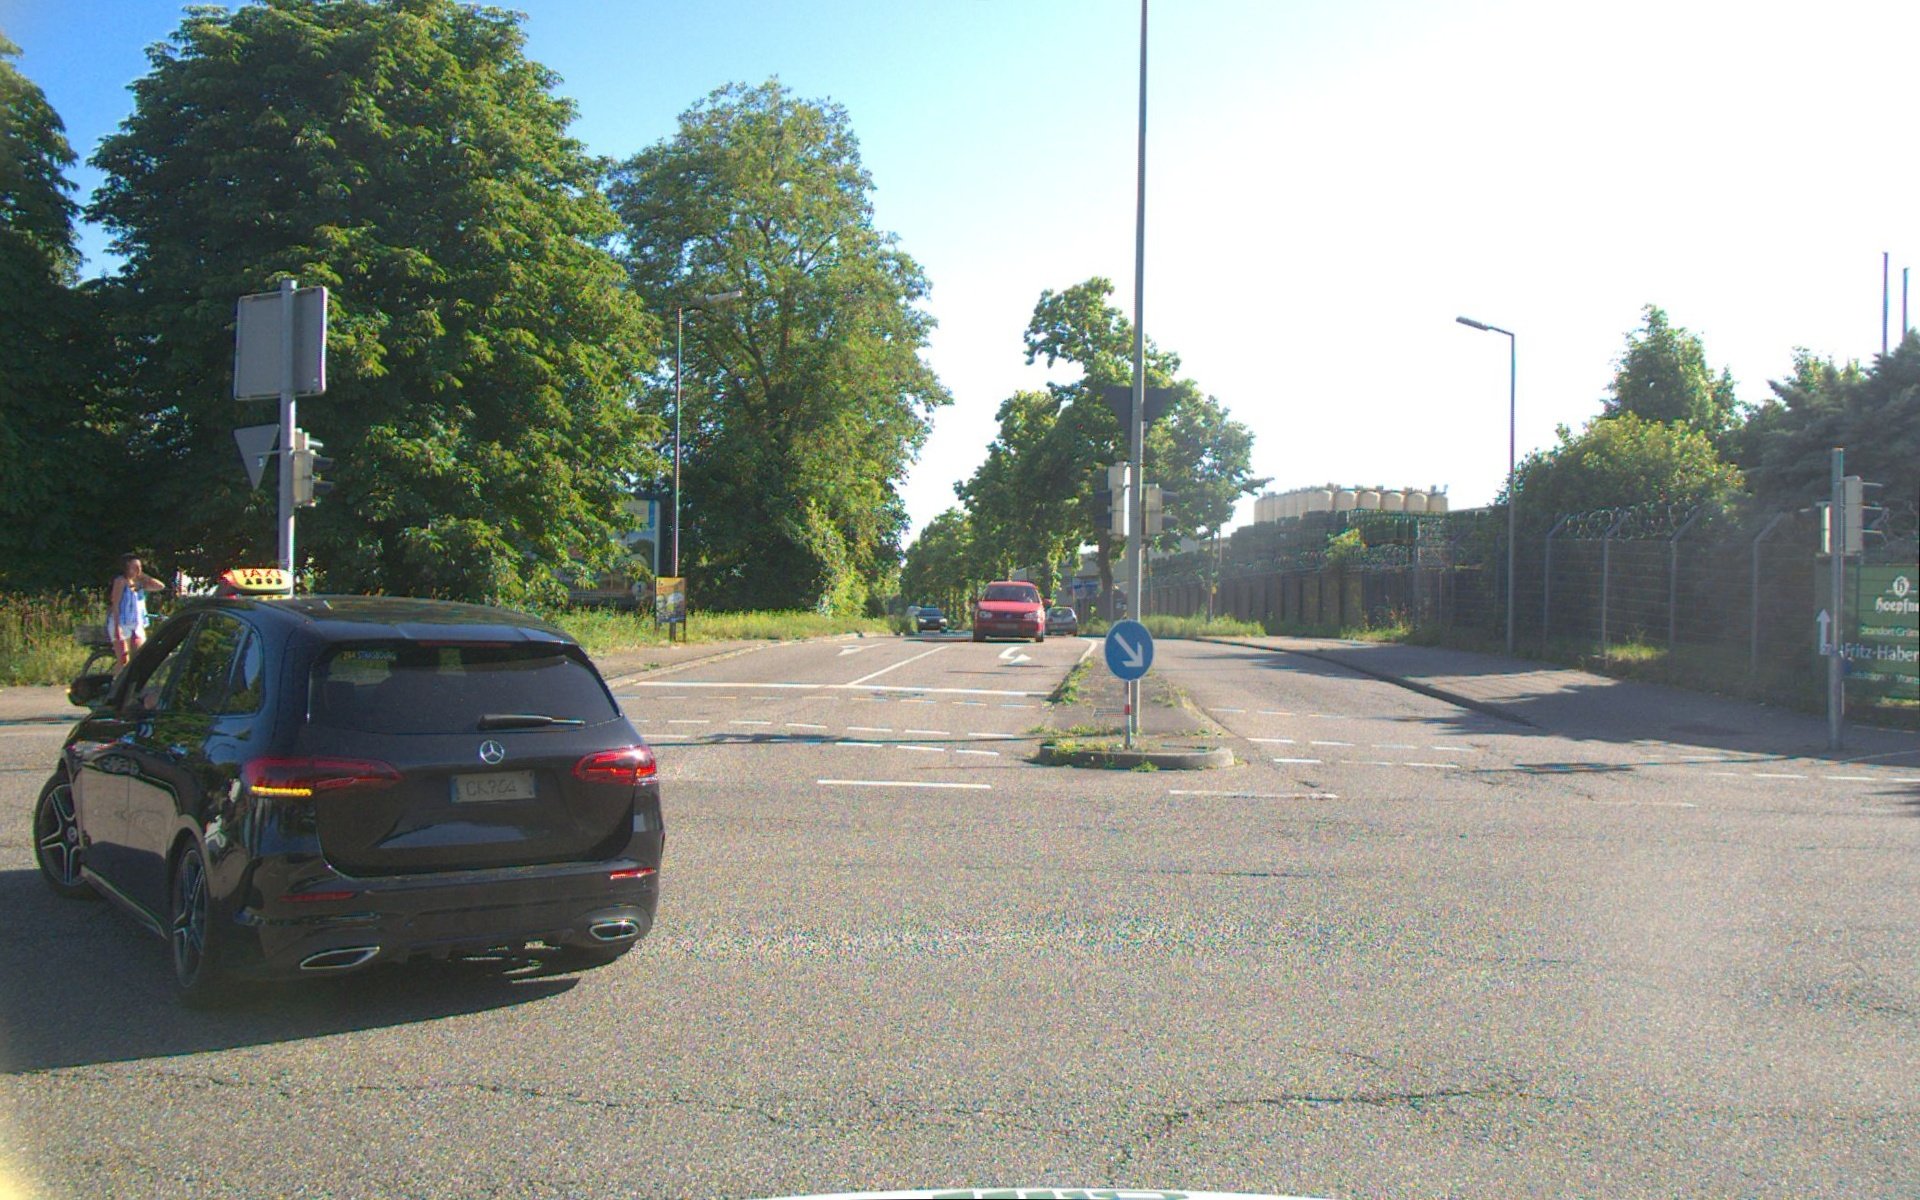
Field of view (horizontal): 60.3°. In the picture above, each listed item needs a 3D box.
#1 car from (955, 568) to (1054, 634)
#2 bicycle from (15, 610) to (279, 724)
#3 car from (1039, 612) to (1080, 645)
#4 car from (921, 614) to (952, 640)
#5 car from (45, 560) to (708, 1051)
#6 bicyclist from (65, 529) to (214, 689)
[{"bbox_3d":[1.025,0.039,40.326,1.822,1.495,4.132,1,-1,-7],"label":"car"},{"bbox_3d":[-9.026,0.716,18.348,2.883,1.145,0.903,1,-1,22],"label":"bicycle"},{"bbox_3d":[5.000,1.426,83.325,1.656,1.660,3.127,1,-1,-5],"label":"car"},{"bbox_3d":[-1.425,1.584,98.872,1.820,1.495,4.137,0,-1,-2],"label":"car"},{"bbox_3d":[-2.879,0.674,7.578,1.757,1.620,3.936,1,0,-37],"label":"car"},{"bbox_3d":[-9.109,0.097,18.389,1.162,1.722,0.892,1,-1,22],"label":"bicyclist"}]
